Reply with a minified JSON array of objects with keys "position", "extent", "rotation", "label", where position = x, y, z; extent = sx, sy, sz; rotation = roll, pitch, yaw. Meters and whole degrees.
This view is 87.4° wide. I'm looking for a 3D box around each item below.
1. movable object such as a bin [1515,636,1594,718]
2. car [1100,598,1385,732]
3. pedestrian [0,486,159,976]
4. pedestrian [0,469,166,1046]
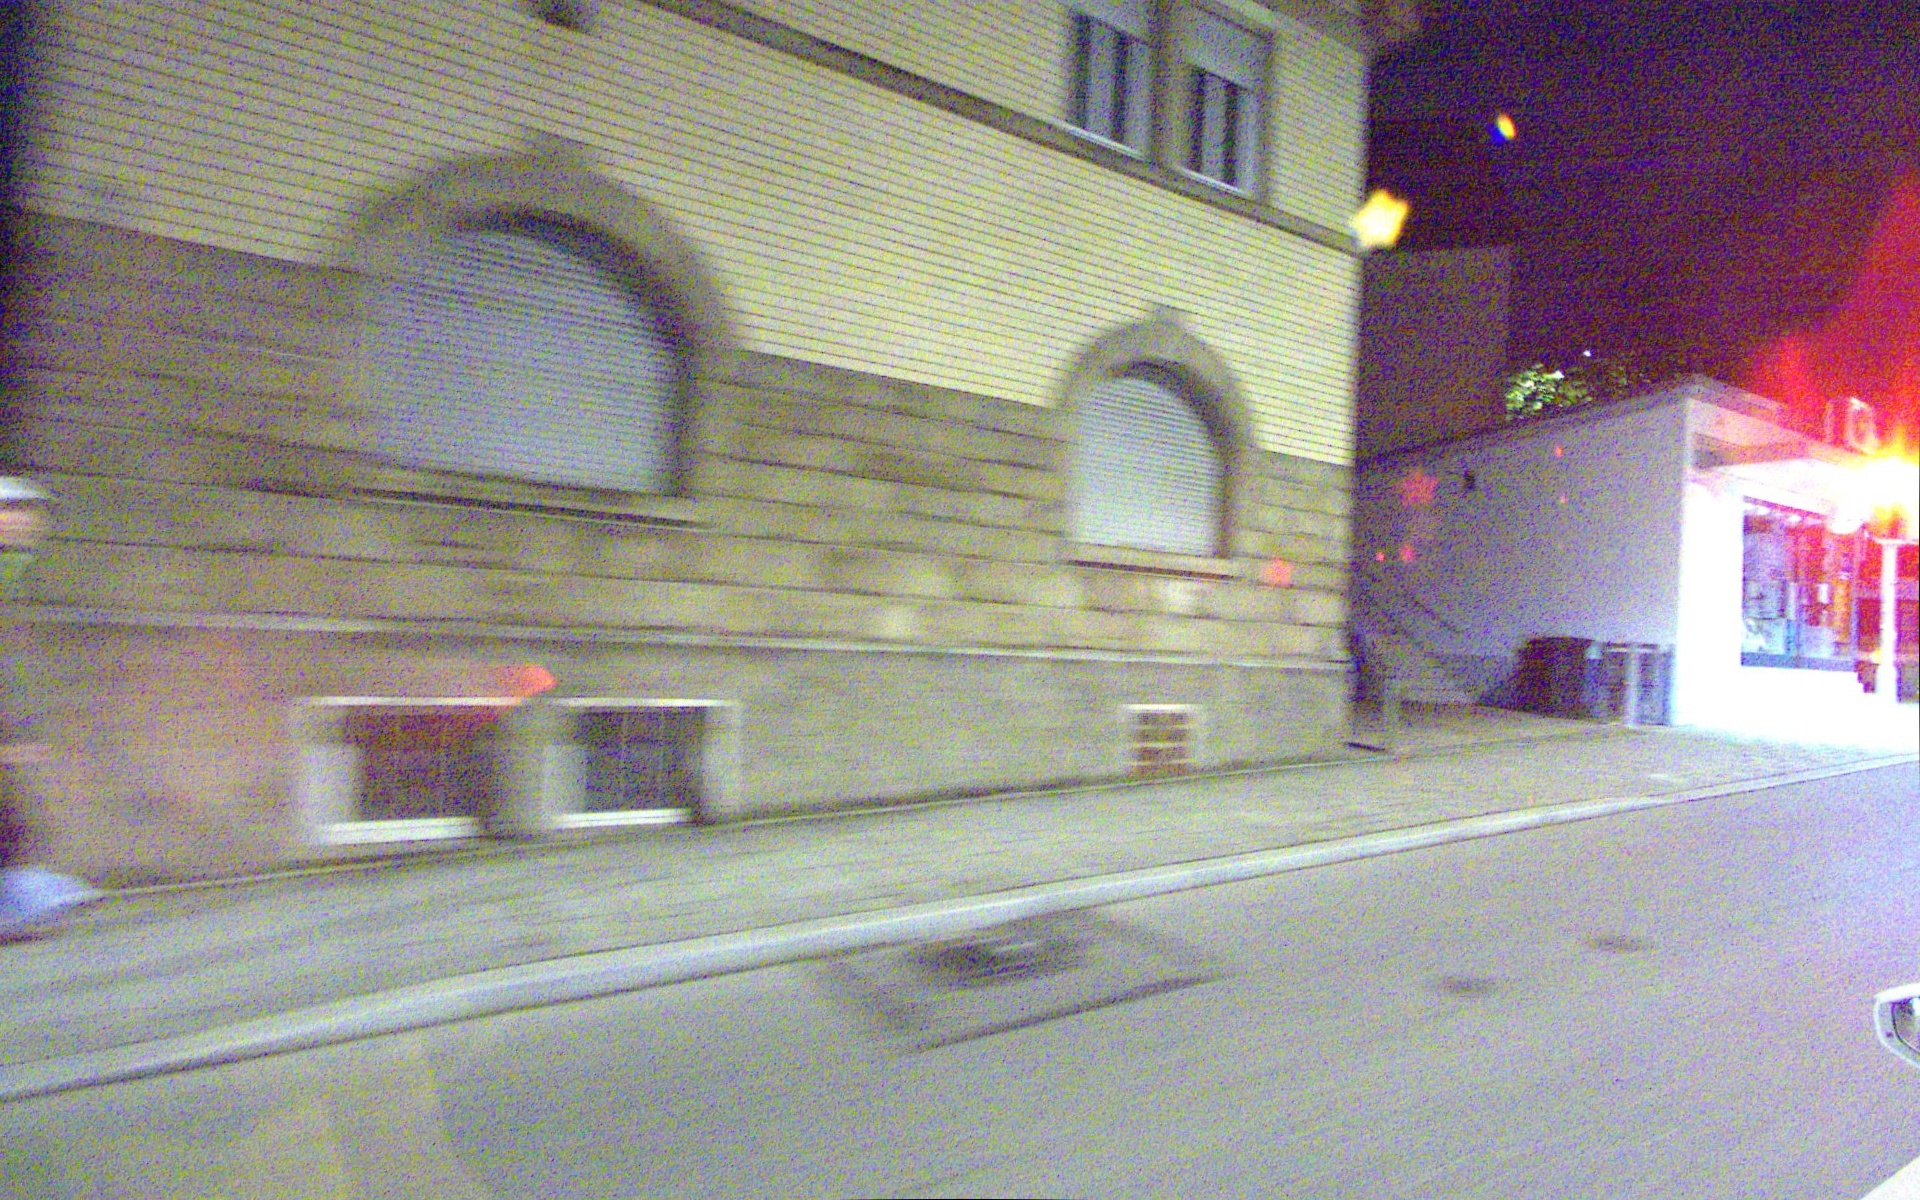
[{"position":[8.089,1.038,13.686],"extent":[0.643,1.063,0.639],"rotation":[1,0,-12],"label":"movable object such as a bin"},{"position":[3.527,0.737,13.050],"extent":[1.655,1.470,3.340],"rotation":[1,0,-31],"label":"car"},{"position":[-3.831,0.468,3.834],"extent":[1.091,1.768,0.738],"rotation":[1,0,-31],"label":"pedestrian"},{"position":[-3.286,0.477,3.249],"extent":[1.017,1.768,0.672],"rotation":[1,0,-31],"label":"pedestrian"}]
